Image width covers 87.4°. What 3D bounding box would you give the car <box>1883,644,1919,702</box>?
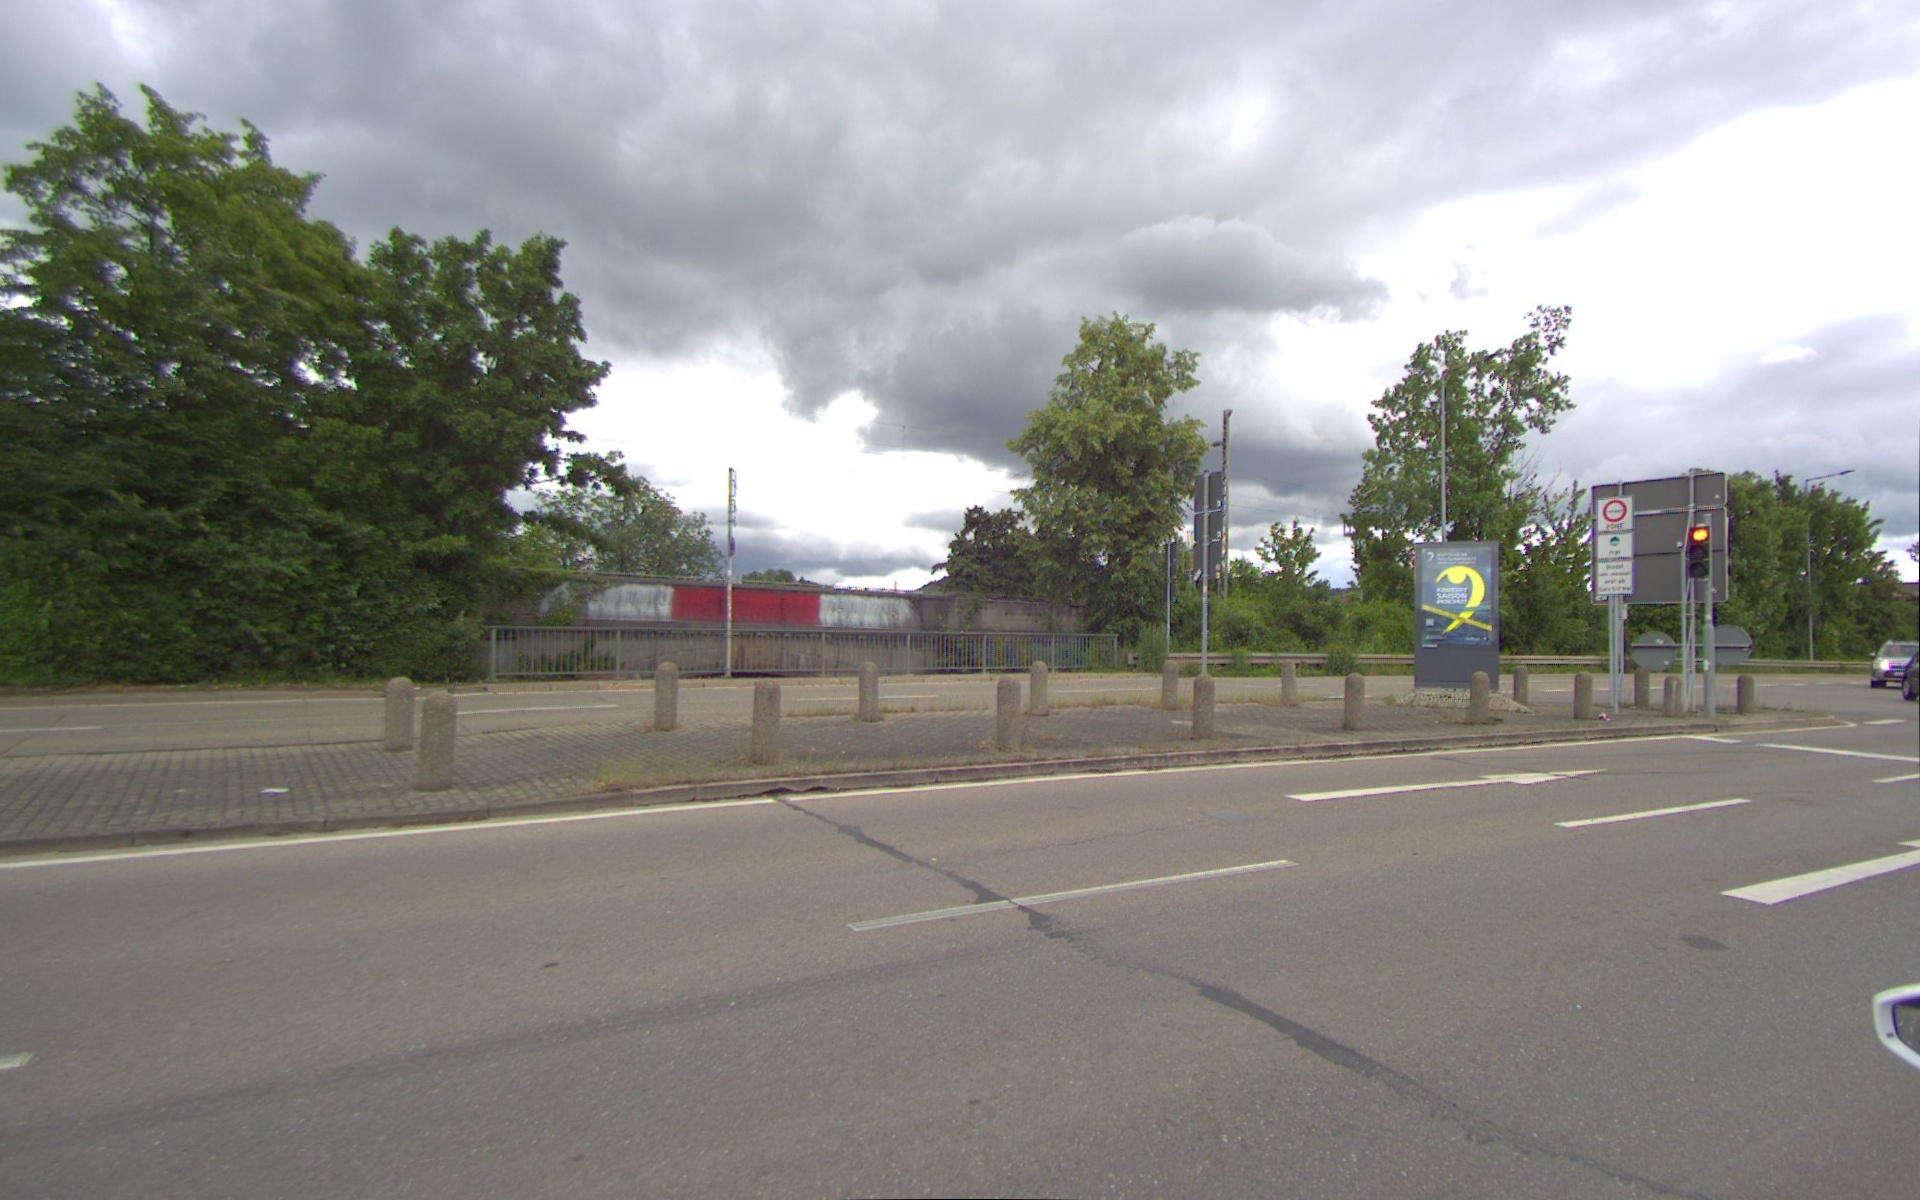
[{"bbox_3d":[25.647,1.920,25.690,1.697,1.481,4.242,2,-1,24],"label":"car"}]

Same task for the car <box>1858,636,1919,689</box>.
[{"bbox_3d":[33.715,2.202,35.652,4.509,1.760,1.713,2,-2,-35],"label":"car"}]
